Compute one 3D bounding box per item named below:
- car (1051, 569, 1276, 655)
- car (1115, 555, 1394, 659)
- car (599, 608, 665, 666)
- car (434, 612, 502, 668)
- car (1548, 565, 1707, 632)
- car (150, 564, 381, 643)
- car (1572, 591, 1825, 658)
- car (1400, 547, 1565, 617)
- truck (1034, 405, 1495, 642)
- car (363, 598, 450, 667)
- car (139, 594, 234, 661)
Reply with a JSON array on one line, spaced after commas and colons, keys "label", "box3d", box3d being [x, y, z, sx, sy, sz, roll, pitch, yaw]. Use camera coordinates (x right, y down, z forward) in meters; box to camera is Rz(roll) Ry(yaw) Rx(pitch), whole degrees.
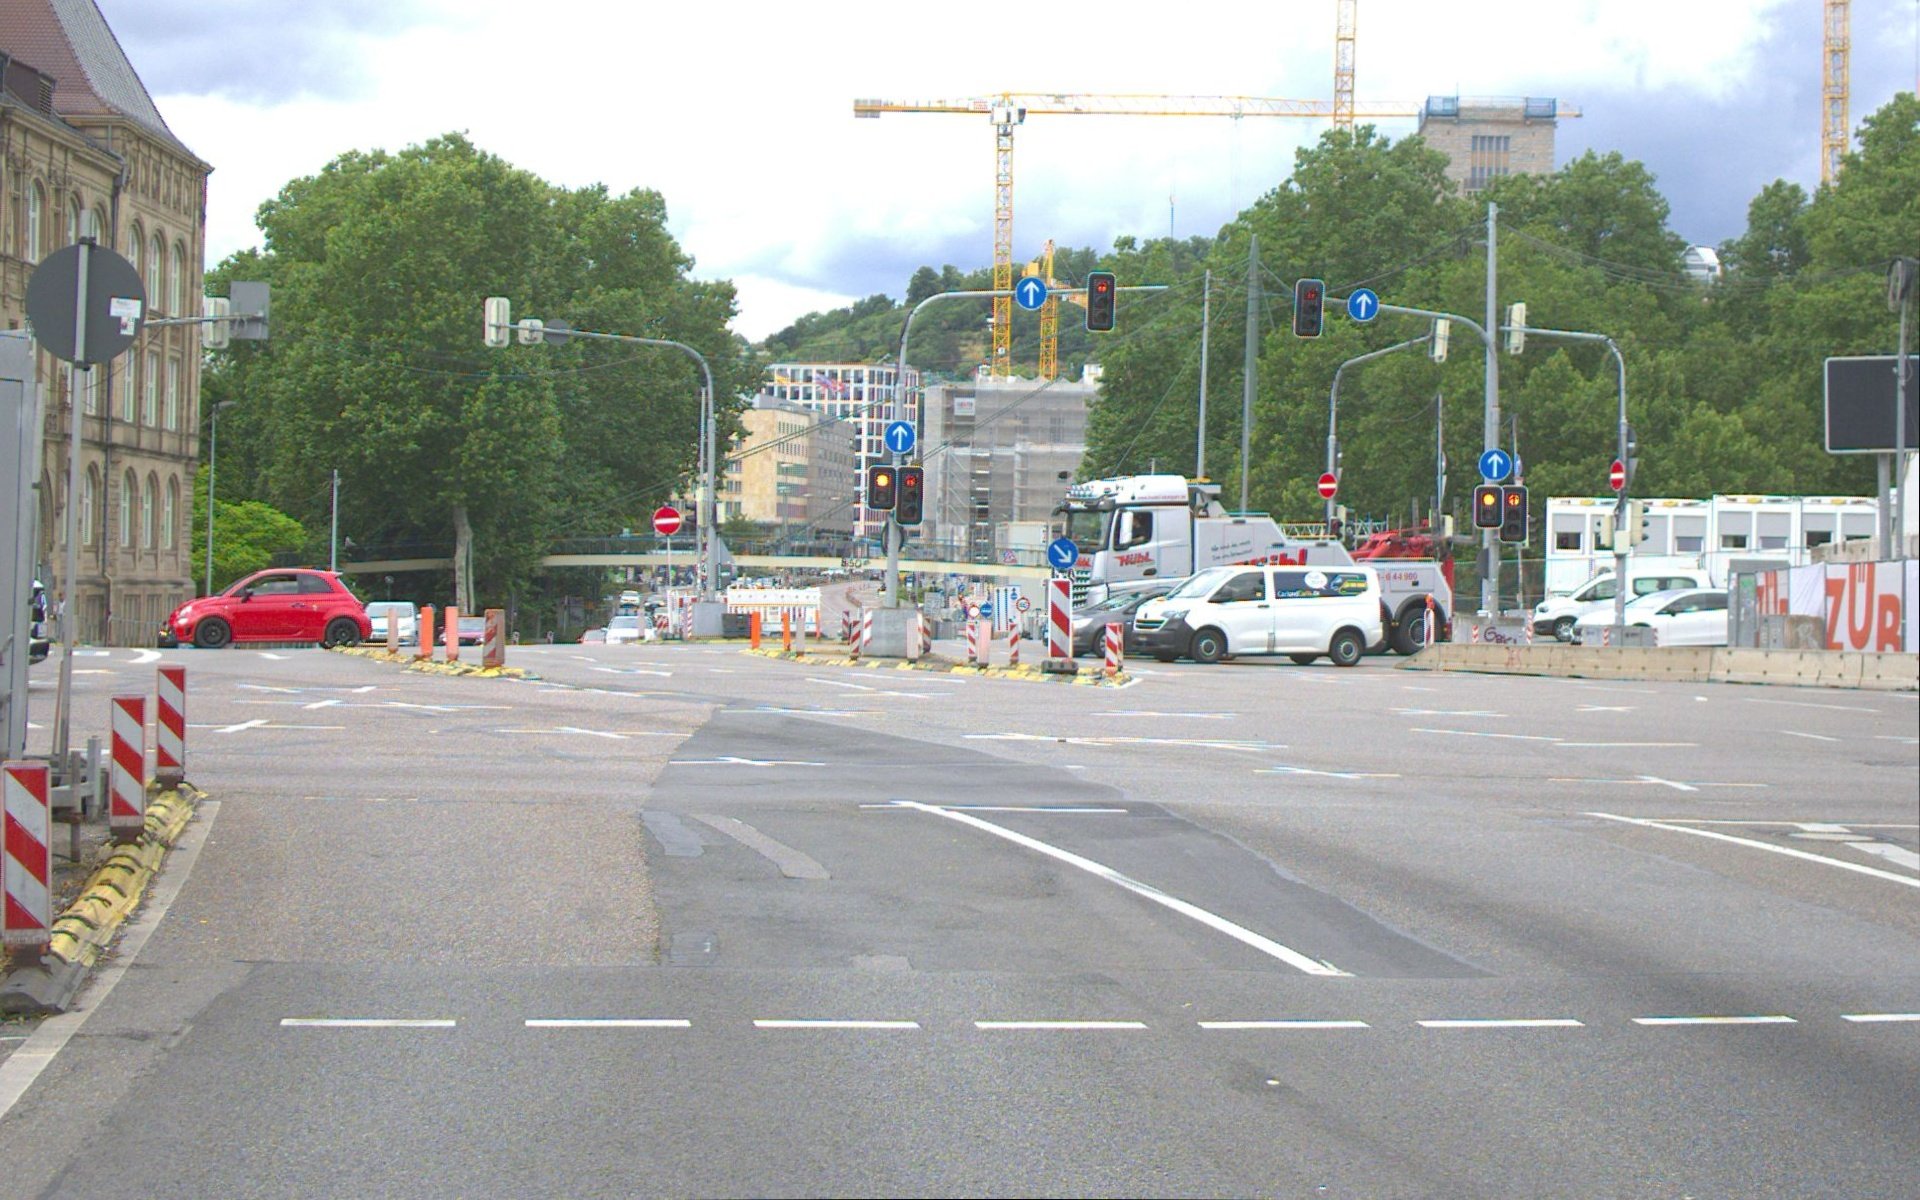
[{"label": "car", "box3d": [4.186, 0.245, 70.920, 4.164, 1.695, 1.967, 1, 1, -19]}, {"label": "car", "box3d": [5.854, 0.138, 68.286, 5.129, 2.007, 2.078, 1, 1, -23]}, {"label": "car", "box3d": [-10.869, 1.210, 114.227, 1.993, 1.831, 4.001, 1, 1, -3]}, {"label": "car", "box3d": [-17.225, 1.388, 120.596, 1.993, 1.831, 4.001, 1, 1, -3]}, {"label": "car", "box3d": [17.241, -0.047, 88.913, 3.989, 1.645, 1.866, 1, 0, 10]}, {"label": "car", "box3d": [-12.559, 0.063, 62.174, 3.806, 1.381, 1.805, 1, 1, -22]}, {"label": "car", "box3d": [16.372, 0.537, 76.230, 5.132, 1.415, 2.238, 1, 1, -23]}, {"label": "car", "box3d": [14.362, -0.506, 94.552, 3.994, 1.831, 1.996, 1, 1, 31]}, {"label": "truck", "box3d": [6.724, -1.597, 75.600, 9.712, 4.943, 3.114, 1, 0, -23]}, {"label": "car", "box3d": [-15.573, 0.903, 96.873, 1.993, 1.831, 4.001, 1, 1, -3]}, {"label": "car", "box3d": [-22.313, 0.787, 99.304, 1.993, 1.831, 4.001, 1, 1, -3]}]
